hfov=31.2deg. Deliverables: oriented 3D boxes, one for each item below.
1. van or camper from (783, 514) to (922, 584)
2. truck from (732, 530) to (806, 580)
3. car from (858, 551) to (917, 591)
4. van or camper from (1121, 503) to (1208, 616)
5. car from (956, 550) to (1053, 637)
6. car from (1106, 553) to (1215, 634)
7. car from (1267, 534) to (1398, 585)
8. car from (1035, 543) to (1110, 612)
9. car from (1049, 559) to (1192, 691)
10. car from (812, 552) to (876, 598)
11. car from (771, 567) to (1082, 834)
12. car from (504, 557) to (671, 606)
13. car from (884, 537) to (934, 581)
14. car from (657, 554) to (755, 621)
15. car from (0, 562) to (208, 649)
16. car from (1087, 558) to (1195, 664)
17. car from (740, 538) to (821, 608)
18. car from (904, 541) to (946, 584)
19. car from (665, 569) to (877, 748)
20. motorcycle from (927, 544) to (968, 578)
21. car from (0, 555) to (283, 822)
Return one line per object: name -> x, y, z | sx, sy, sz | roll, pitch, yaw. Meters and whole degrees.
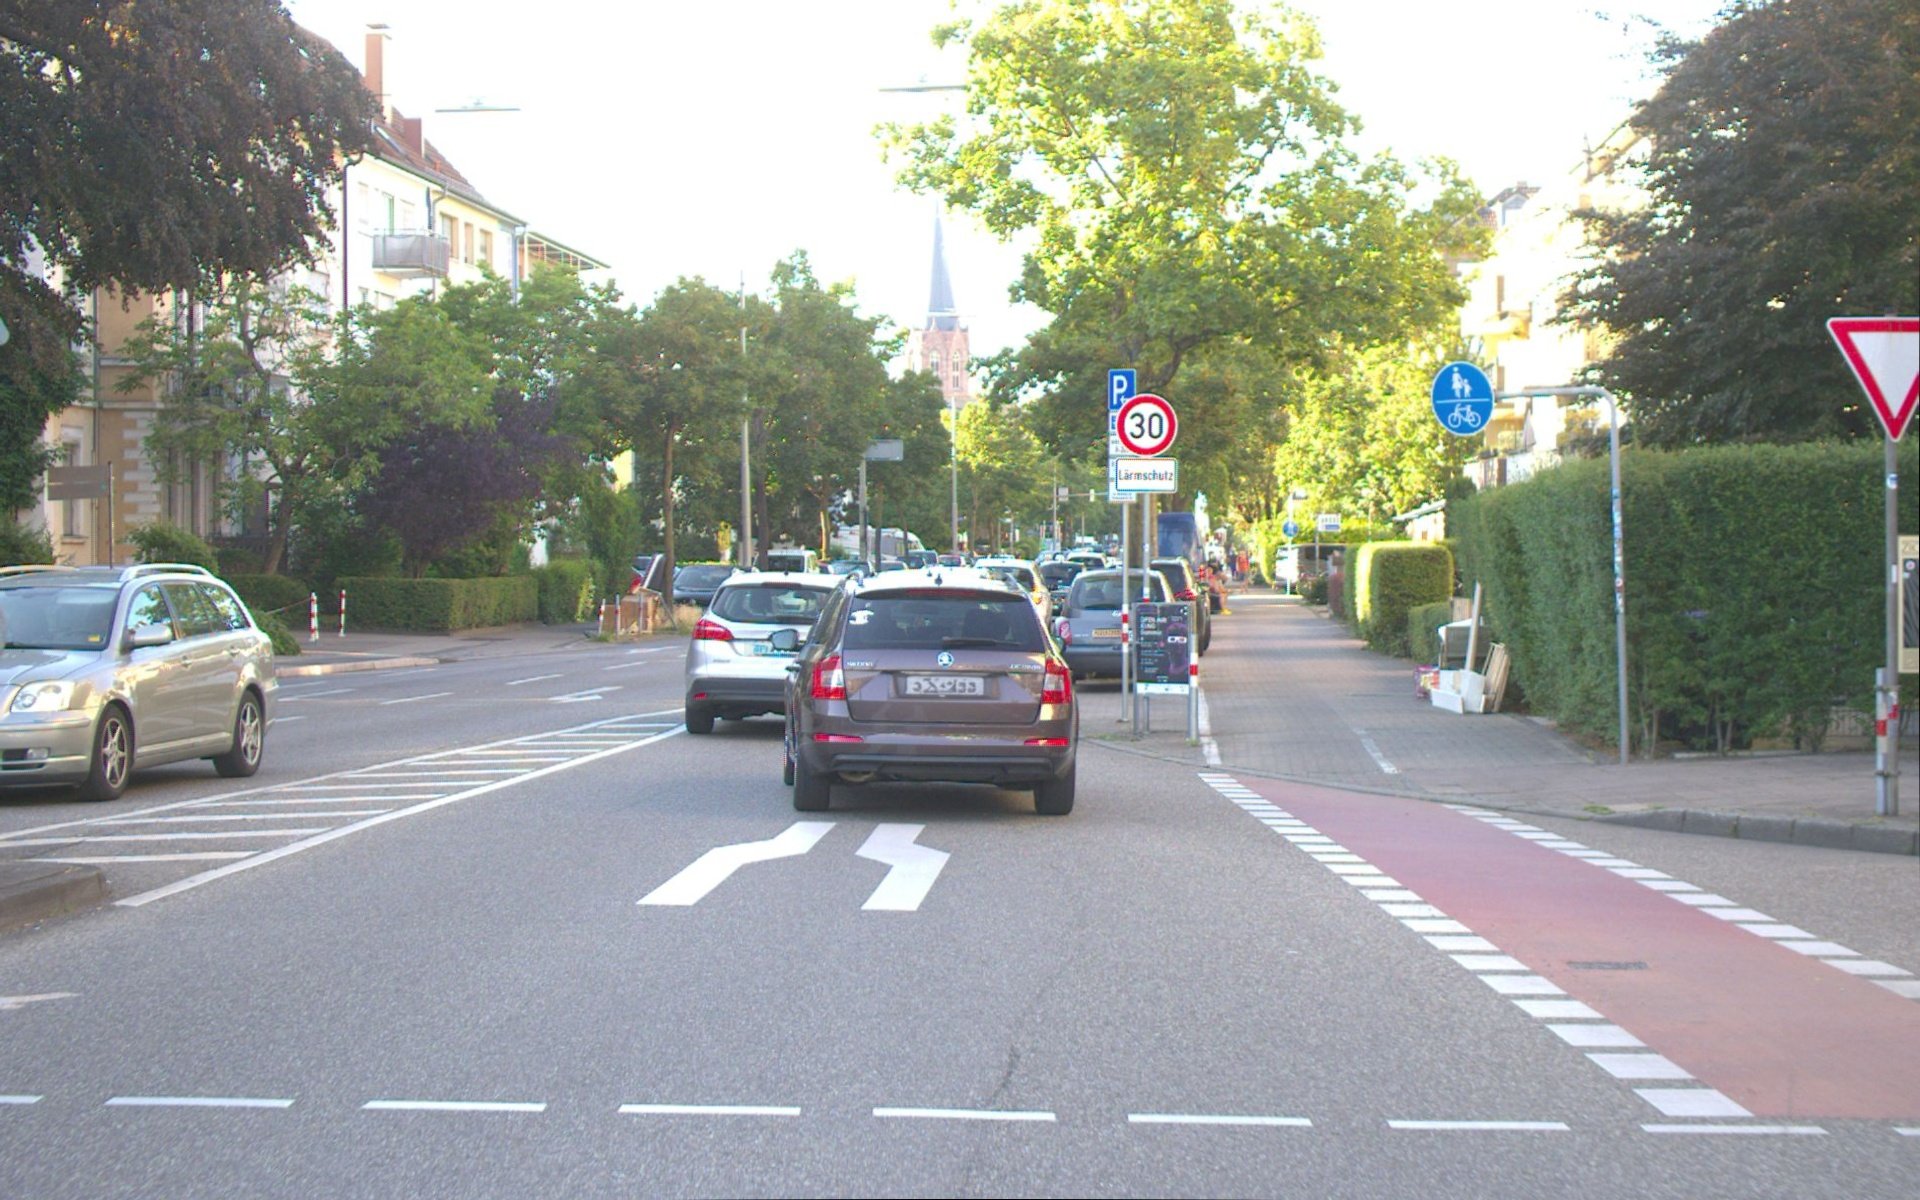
van or camper -> -6.019, -2.861, 192.452 | 7.640, 3.861, 2.000 | 0, 1, 2
truck -> -7.927, -1.878, 142.719 | 2.914, 2.086, 1.546 | 0, 1, 4
car -> -2.666, -1.103, 127.652 | 1.754, 1.415, 4.425 | 0, 1, 5
van or camper -> 5.061, -0.995, 84.540 | 2.068, 2.666, 5.989 | 0, 0, 4
car -> 0.901, -0.150, 67.913 | 1.732, 1.645, 3.541 | 0, 1, 4
car -> 3.929, -0.162, 67.910 | 1.920, 1.481, 4.746 | 0, 1, 1
car -> 14.032, -1.545, 129.529 | 4.532, 1.886, 1.915 | -1, 1, -23
car -> 2.839, -0.577, 86.106 | 1.732, 1.645, 3.541 | 0, 1, 4
car -> 2.076, 0.280, 43.693 | 1.732, 1.545, 3.646 | 0, 1, 4
car -> -3.884, -0.853, 115.738 | 1.717, 1.492, 4.247 | 0, 1, 4
car -> -0.300, 0.565, 22.057 | 1.729, 1.488, 3.951 | 0, 1, -4
car -> -10.759, -0.545, 99.108 | 4.709, 1.358, 2.001 | 0, 1, -9
car -> -2.065, -1.687, 140.819 | 1.750, 1.734, 3.590 | 0, 1, 4
car -> -6.010, -0.312, 81.654 | 1.750, 1.497, 4.196 | 0, 1, 4
car -> -15.173, 0.087, 60.424 | 3.497, 1.481, 1.816 | 0, 1, 0
car -> 3.067, 0.157, 57.518 | 1.732, 1.645, 4.291 | 0, 1, 4
car -> -5.058, -0.781, 97.337 | 1.770, 1.912, 4.459 | 0, 1, 4
car -> -1.474, -1.612, 145.456 | 1.507, 1.751, 3.693 | 0, 1, 4
car -> -1.687, 0.491, 31.792 | 1.729, 1.488, 3.951 | 0, 1, 0
motorcycle -> -0.577, -1.785, 155.775 | 0.764, 1.506, 2.030 | -1, 2, -38
car -> -5.936, 0.487, 22.540 | 1.828, 1.509, 4.604 | 0, 1, 4
